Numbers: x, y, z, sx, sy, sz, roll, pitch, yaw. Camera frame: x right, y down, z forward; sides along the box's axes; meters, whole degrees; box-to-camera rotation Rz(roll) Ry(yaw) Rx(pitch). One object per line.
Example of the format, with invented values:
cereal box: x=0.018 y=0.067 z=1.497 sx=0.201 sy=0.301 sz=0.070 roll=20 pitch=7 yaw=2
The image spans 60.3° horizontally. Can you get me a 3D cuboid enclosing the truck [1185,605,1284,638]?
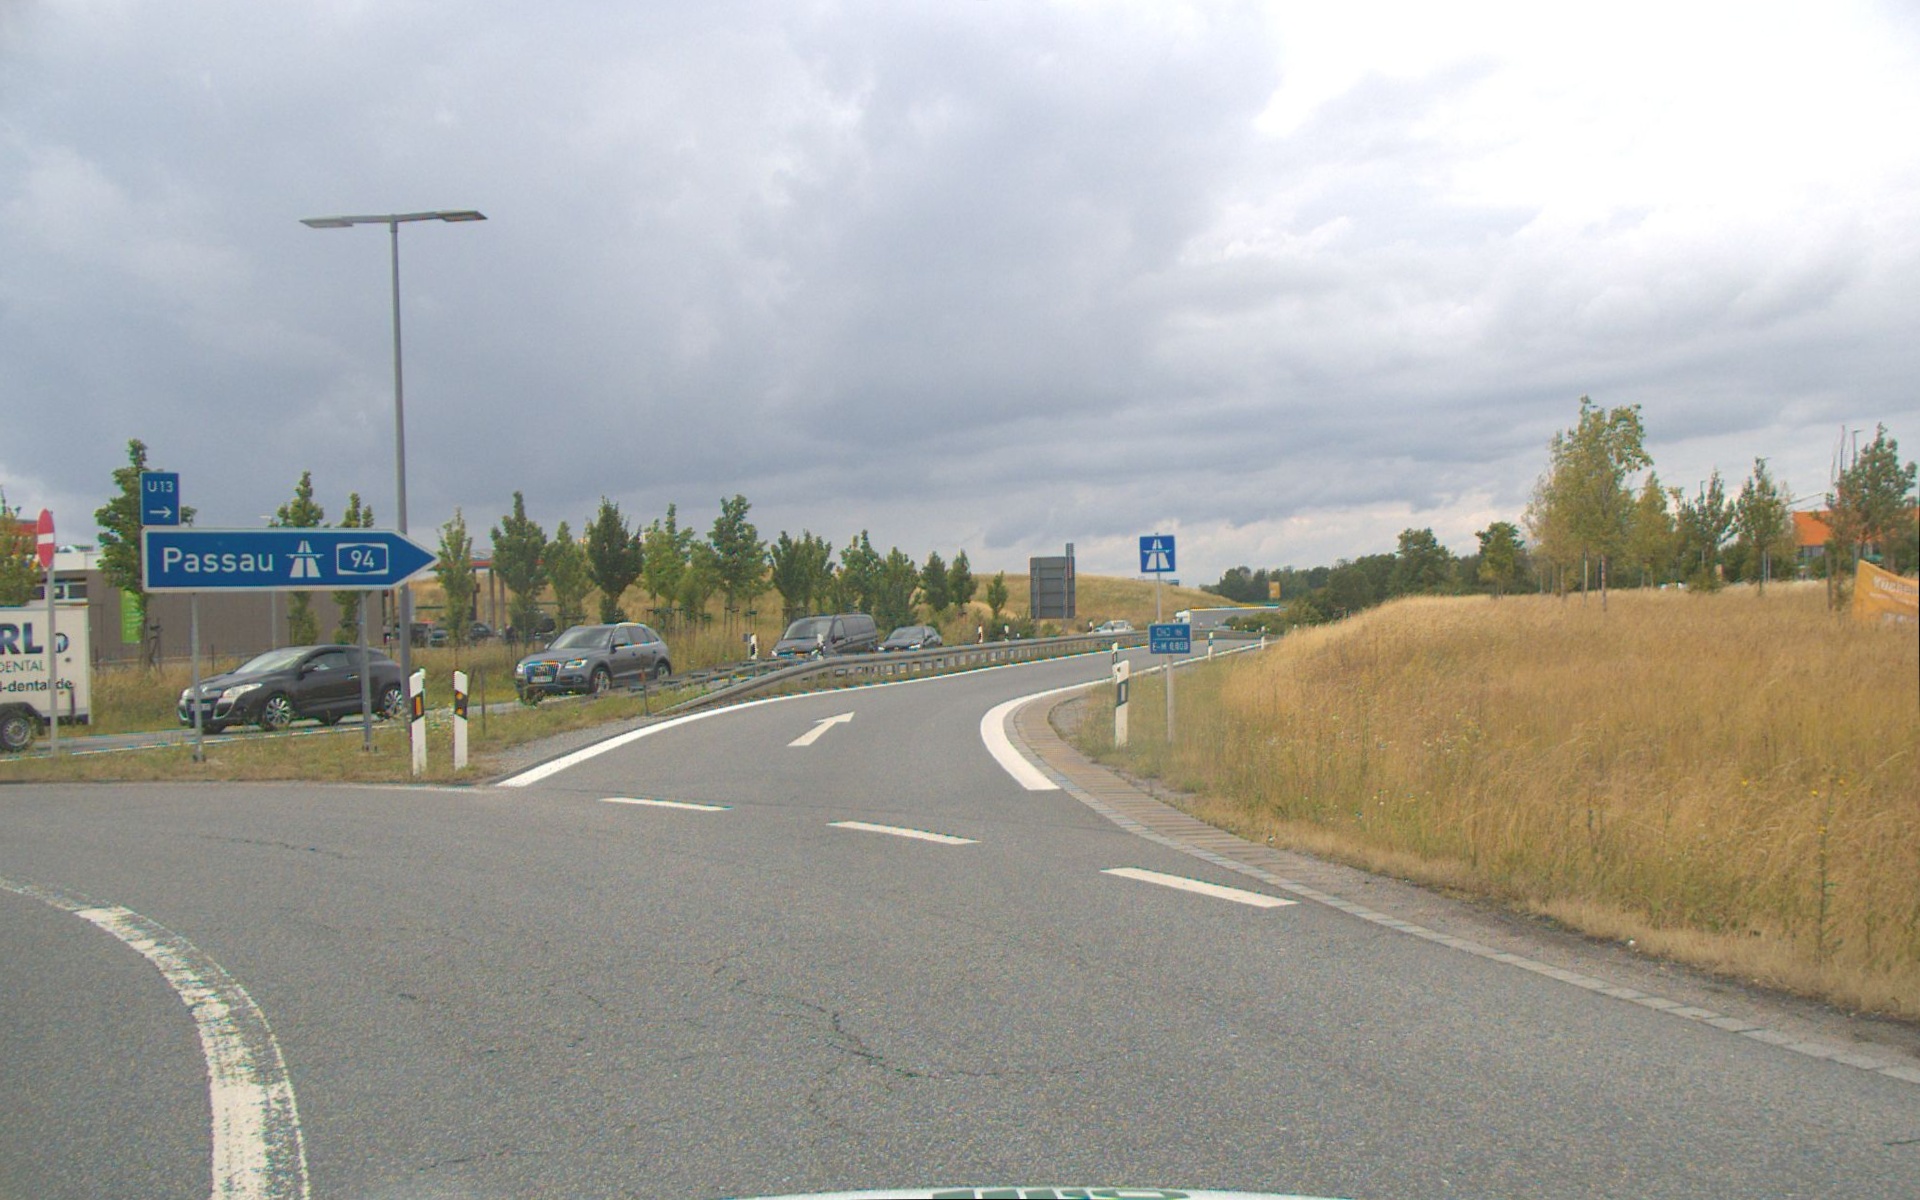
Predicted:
truck: x=42.334 y=3.355 z=255.977 sx=14.953 sy=5.048 sz=3.451 roll=0 pitch=-1 yaw=7

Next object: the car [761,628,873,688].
car: x=-4.407 y=1.786 z=51.575 sx=1.951 sy=1.713 sz=4.595 roll=-3 pitch=-2 yaw=15

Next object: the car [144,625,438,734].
car: x=-11.614 y=1.340 z=29.041 sx=1.956 sy=1.713 sz=4.584 roll=-3 pitch=-2 yaw=29

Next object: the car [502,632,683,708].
car: x=-7.913 y=1.480 z=36.047 sx=1.694 sy=1.518 sz=4.543 roll=0 pitch=-1 yaw=20

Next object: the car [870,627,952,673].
car: x=-1.927 y=1.986 z=66.637 sx=1.951 sy=1.713 sz=4.595 roll=-3 pitch=-2 yaw=15

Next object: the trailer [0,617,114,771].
trailer: x=-14.973 y=1.361 z=24.043 sx=1.960 sy=2.222 sz=4.355 roll=-1 pitch=-1 yaw=36
